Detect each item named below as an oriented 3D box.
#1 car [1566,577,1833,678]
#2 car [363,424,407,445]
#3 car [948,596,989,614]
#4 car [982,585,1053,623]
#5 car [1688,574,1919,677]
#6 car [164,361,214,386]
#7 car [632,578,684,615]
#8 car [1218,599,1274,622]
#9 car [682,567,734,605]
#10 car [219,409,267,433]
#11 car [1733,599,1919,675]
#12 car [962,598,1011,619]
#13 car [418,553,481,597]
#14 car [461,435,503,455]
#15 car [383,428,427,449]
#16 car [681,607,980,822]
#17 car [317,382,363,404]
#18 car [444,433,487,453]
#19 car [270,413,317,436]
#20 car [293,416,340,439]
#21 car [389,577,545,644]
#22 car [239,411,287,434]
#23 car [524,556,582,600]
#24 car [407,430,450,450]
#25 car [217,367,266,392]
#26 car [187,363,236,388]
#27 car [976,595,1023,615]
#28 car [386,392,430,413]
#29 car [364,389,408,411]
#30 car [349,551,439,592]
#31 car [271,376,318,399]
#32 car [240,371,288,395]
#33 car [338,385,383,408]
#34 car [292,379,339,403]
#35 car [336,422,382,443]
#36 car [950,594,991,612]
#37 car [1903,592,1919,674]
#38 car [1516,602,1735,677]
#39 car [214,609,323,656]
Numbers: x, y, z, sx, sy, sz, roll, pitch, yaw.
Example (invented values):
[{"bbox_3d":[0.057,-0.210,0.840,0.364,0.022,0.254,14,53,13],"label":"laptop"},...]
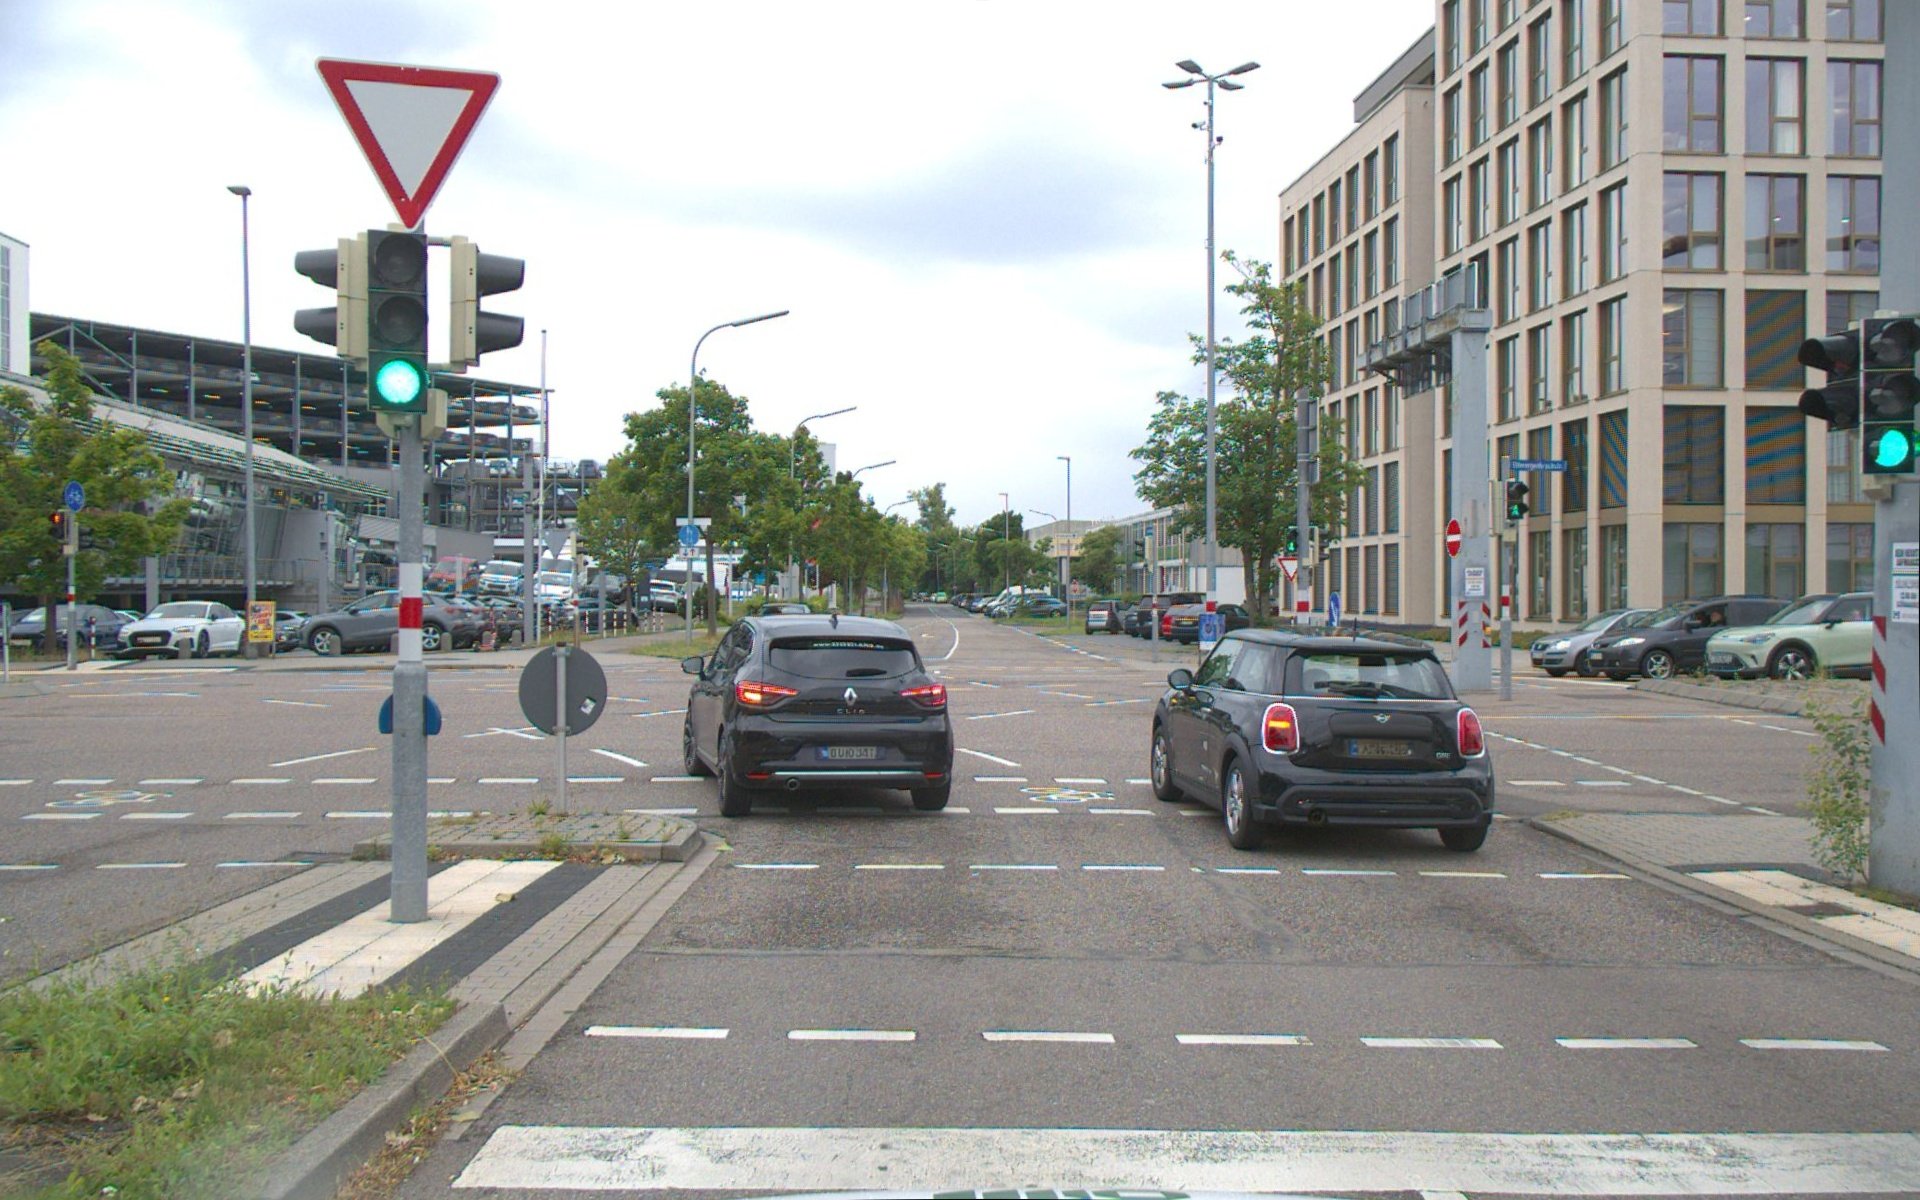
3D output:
[{"bbox_3d":[14.349,0.541,32.217,4.321,1.800,1.998,2,-1,-5],"label":"car"},{"bbox_3d":[-55.000,-15.799,158.176,3.914,1.696,1.996,1,0,31],"label":"car"},{"bbox_3d":[1.120,0.652,209.441,5.070,2.049,2.142,2,-1,-2],"label":"car"},{"bbox_3d":[5.055,0.347,145.500,5.994,3.171,2.133,2,-1,-3],"label":"car"},{"bbox_3d":[15.156,0.463,28.983,3.977,1.672,1.902,2,-1,-7],"label":"car"},{"bbox_3d":[-65.428,-19.198,140.406,3.914,1.696,1.996,1,0,31],"label":"car"},{"bbox_3d":[-14.132,-0.141,77.572,1.954,1.646,3.996,2,-1,-5],"label":"car"},{"bbox_3d":[18.205,0.654,105.209,3.182,1.356,1.477,2,-1,-20],"label":"car"},{"bbox_3d":[-11.885,-0.645,78.172,1.954,1.646,3.997,2,-1,-3],"label":"car"},{"bbox_3d":[-62.824,-15.684,144.958,3.914,1.696,1.996,1,0,31],"label":"car"},{"bbox_3d":[19.197,0.817,35.823,4.055,1.517,1.870,2,-1,-5],"label":"car"},{"bbox_3d":[2.786,0.924,176.178,5.070,2.049,2.142,2,-1,-2],"label":"car"},{"bbox_3d":[-23.739,-1.129,77.036,1.954,1.881,3.996,2,-1,-5],"label":"car"},{"bbox_3d":[-49.030,-15.873,169.503,3.914,1.696,1.996,1,0,31],"label":"car"},{"bbox_3d":[-53.845,-15.678,160.550,3.914,1.696,1.996,1,0,31],"label":"car"},{"bbox_3d":[-1.201,0.823,13.409,1.727,1.460,3.984,2,-1,-14],"label":"car"},{"bbox_3d":[-57.688,-19.238,153.835,3.914,1.696,1.996,1,0,31],"label":"car"},{"bbox_3d":[-50.085,-15.851,167.524,3.914,1.696,1.996,1,0,31],"label":"car"},{"bbox_3d":[-60.207,-15.799,149.325,3.914,1.696,1.996,1,0,31],"label":"car"},{"bbox_3d":[-58.923,-15.796,151.477,3.914,1.696,1.996,1,0,31],"label":"car"},{"bbox_3d":[-16.418,0.364,55.272,4.683,2.049,1.997,-2,-1,-8],"label":"car"},{"bbox_3d":[-61.976,-15.764,147.058,3.914,1.696,1.996,1,0,31],"label":"car"},{"bbox_3d":[-18.918,-0.998,77.023,1.954,1.855,3.996,2,-1,-5],"label":"car"},{"bbox_3d":[-52.384,-15.763,162.990,3.914,1.696,1.996,1,0,31],"label":"car"},{"bbox_3d":[-62.963,-19.315,144.902,3.914,1.696,1.996,1,0,31],"label":"car"},{"bbox_3d":[-64.503,-19.292,142.475,3.914,1.696,1.996,1,0,31],"label":"car"},{"bbox_3d":[4.033,0.548,169.632,4.690,1.924,2.142,2,-1,-4],"label":"car"},{"bbox_3d":[-53.659,-19.187,160.706,3.914,1.696,1.996,1,0,31],"label":"car"},{"bbox_3d":[-54.963,-19.176,158.377,3.914,1.696,1.996,1,0,31],"label":"car"},{"bbox_3d":[-28.573,-1.422,83.545,3.908,1.870,1.758,2,-1,-4],"label":"car"},{"bbox_3d":[-60.124,-19.187,149.470,3.914,1.696,1.996,1,0,31],"label":"car"},{"bbox_3d":[-61.736,-19.251,146.795,3.914,1.696,1.996,1,0,31],"label":"car"},{"bbox_3d":[-56.454,-19.166,155.683,3.914,1.696,1.996,1,0,31],"label":"car"},{"bbox_3d":[-59.020,-19.124,151.504,3.914,1.696,1.996,1,0,31],"label":"car"},{"bbox_3d":[-56.549,-15.748,155.574,3.914,1.696,1.996,1,0,31],"label":"car"},{"bbox_3d":[1.322,0.391,212.504,5.070,2.049,2.142,2,-1,-2],"label":"car"},{"bbox_3d":[21.181,0.712,32.761,3.909,1.629,1.998,2,-1,-5],"label":"car"},{"bbox_3d":[14.232,0.837,35.495,4.005,1.457,1.749,2,-1,-5],"label":"car"},{"bbox_3d":[-29.461,1.381,70.547,3.911,1.870,1.757,2,-1,-7],"label":"car"}]
